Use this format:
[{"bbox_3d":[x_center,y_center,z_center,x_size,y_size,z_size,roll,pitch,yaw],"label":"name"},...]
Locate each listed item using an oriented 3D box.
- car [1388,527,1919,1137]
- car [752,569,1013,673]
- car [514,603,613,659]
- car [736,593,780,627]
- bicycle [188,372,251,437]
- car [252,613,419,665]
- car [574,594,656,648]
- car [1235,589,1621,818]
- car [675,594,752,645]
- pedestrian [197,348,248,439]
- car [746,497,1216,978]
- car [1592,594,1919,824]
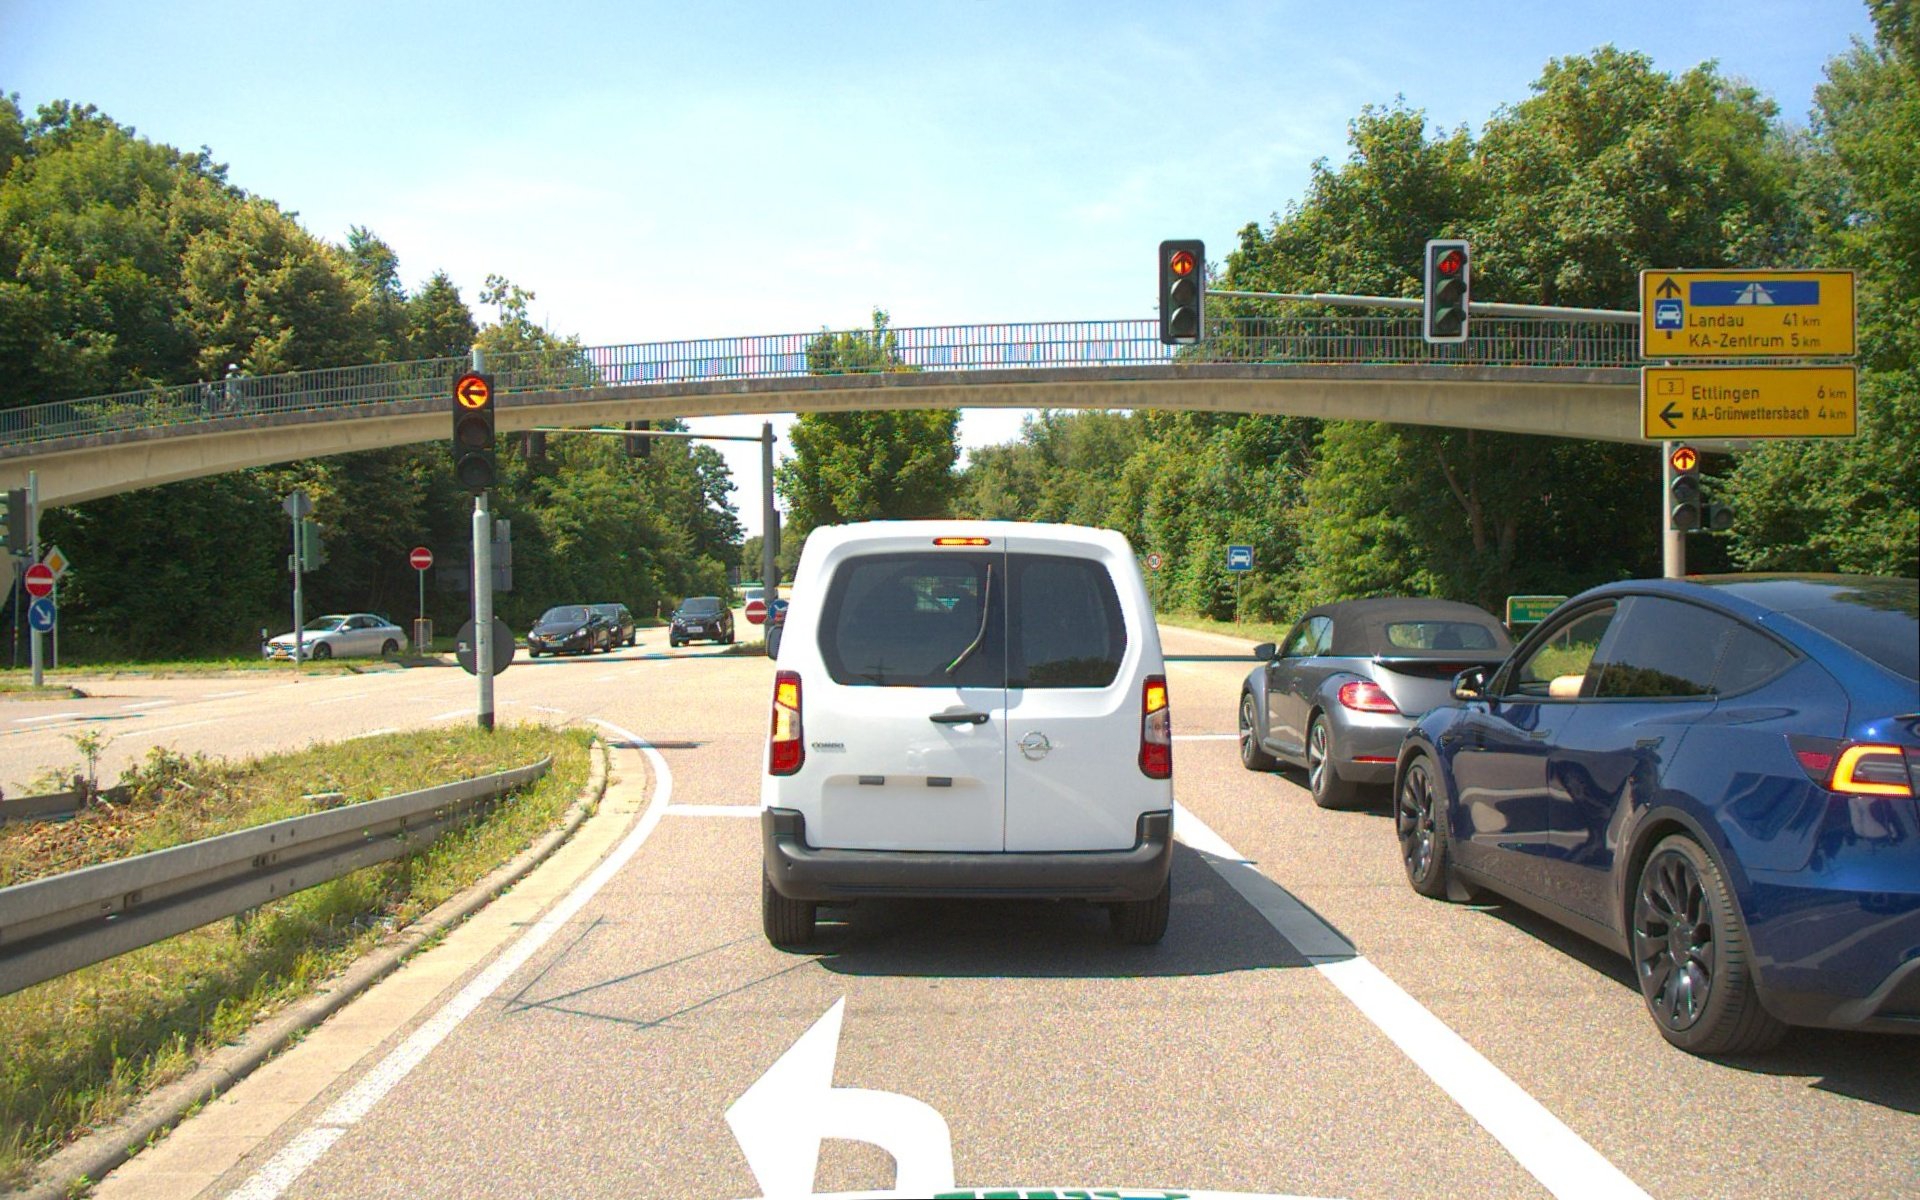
[{"bbox_3d":[3.321,0.635,6.823,1.862,1.673,4.519,1,0,-1],"label":"car"},{"bbox_3d":[-1.384,0.361,31.521,2.011,1.728,5.058,-3,0,41],"label":"car"},{"bbox_3d":[-11.631,0.869,48.810,1.967,1.486,4.054,-2,0,-1],"label":"car"},{"bbox_3d":[-13.047,0.634,106.988,2.163,2.028,5.487,-2,0,-1],"label":"car"},{"bbox_3d":[-19.142,-5.045,42.770,1.494,1.500,0.470,-3,-2,15],"label":"bicycle"},{"bbox_3d":[-18.887,1.161,50.242,1.953,1.397,4.780,-1,0,24],"label":"car"},{"bbox_3d":[-11.560,0.679,55.699,1.953,1.694,3.999,-1,0,-1],"label":"car"},{"bbox_3d":[3.457,0.683,13.027,1.862,1.503,3.938,1,0,-1],"label":"car"},{"bbox_3d":[-7.980,0.604,53.923,1.953,1.550,4.027,1,0,-1],"label":"car"},{"bbox_3d":[-19.187,-5.363,43.046,0.765,2.177,0.932,-3,-2,15],"label":"pedestrian"},{"bbox_3d":[0.027,0.508,8.436,1.812,1.857,3.980,1,1,-2],"label":"car"},{"bbox_3d":[6.825,0.723,13.134,1.862,1.503,4.379,1,0,-1],"label":"car"}]
